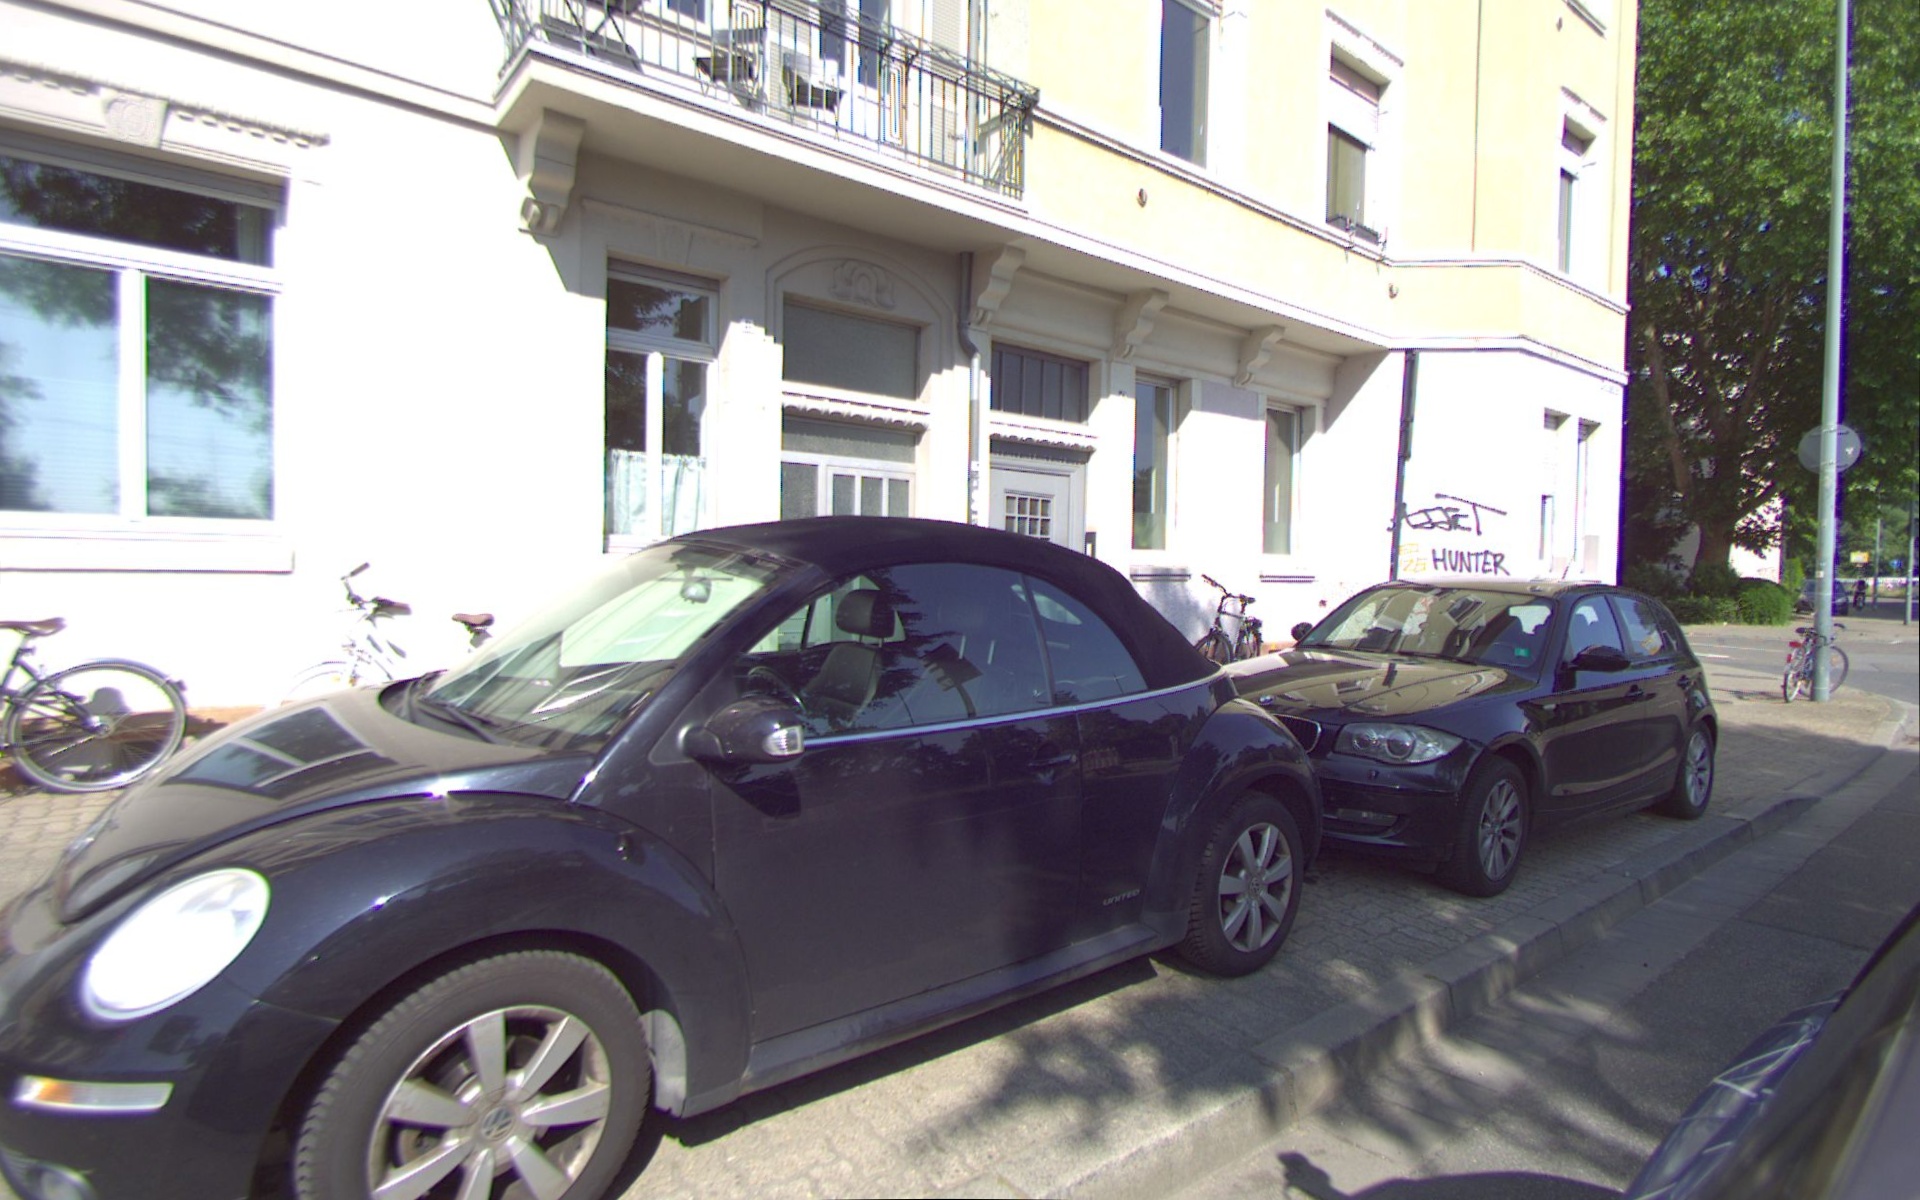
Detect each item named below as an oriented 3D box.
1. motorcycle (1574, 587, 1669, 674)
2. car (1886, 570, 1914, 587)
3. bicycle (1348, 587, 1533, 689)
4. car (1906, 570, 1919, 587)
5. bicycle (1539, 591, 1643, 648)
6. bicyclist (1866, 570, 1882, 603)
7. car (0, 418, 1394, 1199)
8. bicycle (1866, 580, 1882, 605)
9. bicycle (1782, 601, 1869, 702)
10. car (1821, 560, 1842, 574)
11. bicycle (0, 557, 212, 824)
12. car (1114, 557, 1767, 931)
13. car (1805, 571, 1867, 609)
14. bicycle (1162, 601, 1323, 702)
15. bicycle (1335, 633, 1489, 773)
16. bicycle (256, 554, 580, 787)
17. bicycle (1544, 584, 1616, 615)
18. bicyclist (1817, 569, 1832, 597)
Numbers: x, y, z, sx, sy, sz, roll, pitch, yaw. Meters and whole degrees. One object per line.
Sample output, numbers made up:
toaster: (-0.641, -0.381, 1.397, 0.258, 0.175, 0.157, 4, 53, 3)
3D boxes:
motorcycle: (10.037, 0.427, 15.428, 0.466, 1.164, 1.761, 3, 3, 9)
car: (102.847, -2.377, 110.770, 1.623, 1.833, 3.550, 3, 3, 33)
bicycle: (5.522, 0.421, 11.692, 1.795, 1.059, 0.538, 2, 2, 4)
car: (111.448, -2.492, 117.100, 1.985, 1.889, 3.956, 4, 4, 32)
bicycle: (12.916, 0.378, 20.788, 0.613, 1.047, 1.887, 1, 2, -15)
bicyclist: (45.532, -0.676, 50.405, 0.539, 1.653, 0.580, 3, 3, 43)
car: (-0.427, 0.445, 3.206, 3.938, 1.519, 1.646, -1, 4, -40)
bicycle: (45.525, -0.365, 50.415, 0.552, 1.203, 1.267, 3, 3, 42)
bicycle: (10.444, 0.579, 12.196, 1.705, 1.101, 0.577, -1, 2, -43)
car: (116.161, -4.401, 134.915, 1.623, 1.834, 3.550, 2, 2, 33)
bicycle: (-4.482, 0.393, 4.685, 1.598, 1.160, 0.656, 0, 4, -41)
car: (2.931, 0.514, 5.833, 4.006, 1.433, 1.746, -1, 3, -38)
car: (37.754, -0.482, 43.678, 1.784, 1.531, 3.840, 2, 2, 38)
bicycle: (3.091, 0.509, 10.959, 2.077, 0.957, 0.609, -1, 2, -41)
bicycle: (3.506, 0.745, 7.792, 1.554, 0.902, 0.449, 0, 4, -42)
bicycle: (-3.135, 0.346, 5.944, 1.598, 1.195, 0.567, -1, 2, -41)
bicycle: (21.337, -0.018, 34.865, 1.861, 0.996, 0.974, 1, 2, -2)
bicyclist: (60.650, -1.207, 71.016, 0.643, 1.917, 0.829, 2, 2, 33)
